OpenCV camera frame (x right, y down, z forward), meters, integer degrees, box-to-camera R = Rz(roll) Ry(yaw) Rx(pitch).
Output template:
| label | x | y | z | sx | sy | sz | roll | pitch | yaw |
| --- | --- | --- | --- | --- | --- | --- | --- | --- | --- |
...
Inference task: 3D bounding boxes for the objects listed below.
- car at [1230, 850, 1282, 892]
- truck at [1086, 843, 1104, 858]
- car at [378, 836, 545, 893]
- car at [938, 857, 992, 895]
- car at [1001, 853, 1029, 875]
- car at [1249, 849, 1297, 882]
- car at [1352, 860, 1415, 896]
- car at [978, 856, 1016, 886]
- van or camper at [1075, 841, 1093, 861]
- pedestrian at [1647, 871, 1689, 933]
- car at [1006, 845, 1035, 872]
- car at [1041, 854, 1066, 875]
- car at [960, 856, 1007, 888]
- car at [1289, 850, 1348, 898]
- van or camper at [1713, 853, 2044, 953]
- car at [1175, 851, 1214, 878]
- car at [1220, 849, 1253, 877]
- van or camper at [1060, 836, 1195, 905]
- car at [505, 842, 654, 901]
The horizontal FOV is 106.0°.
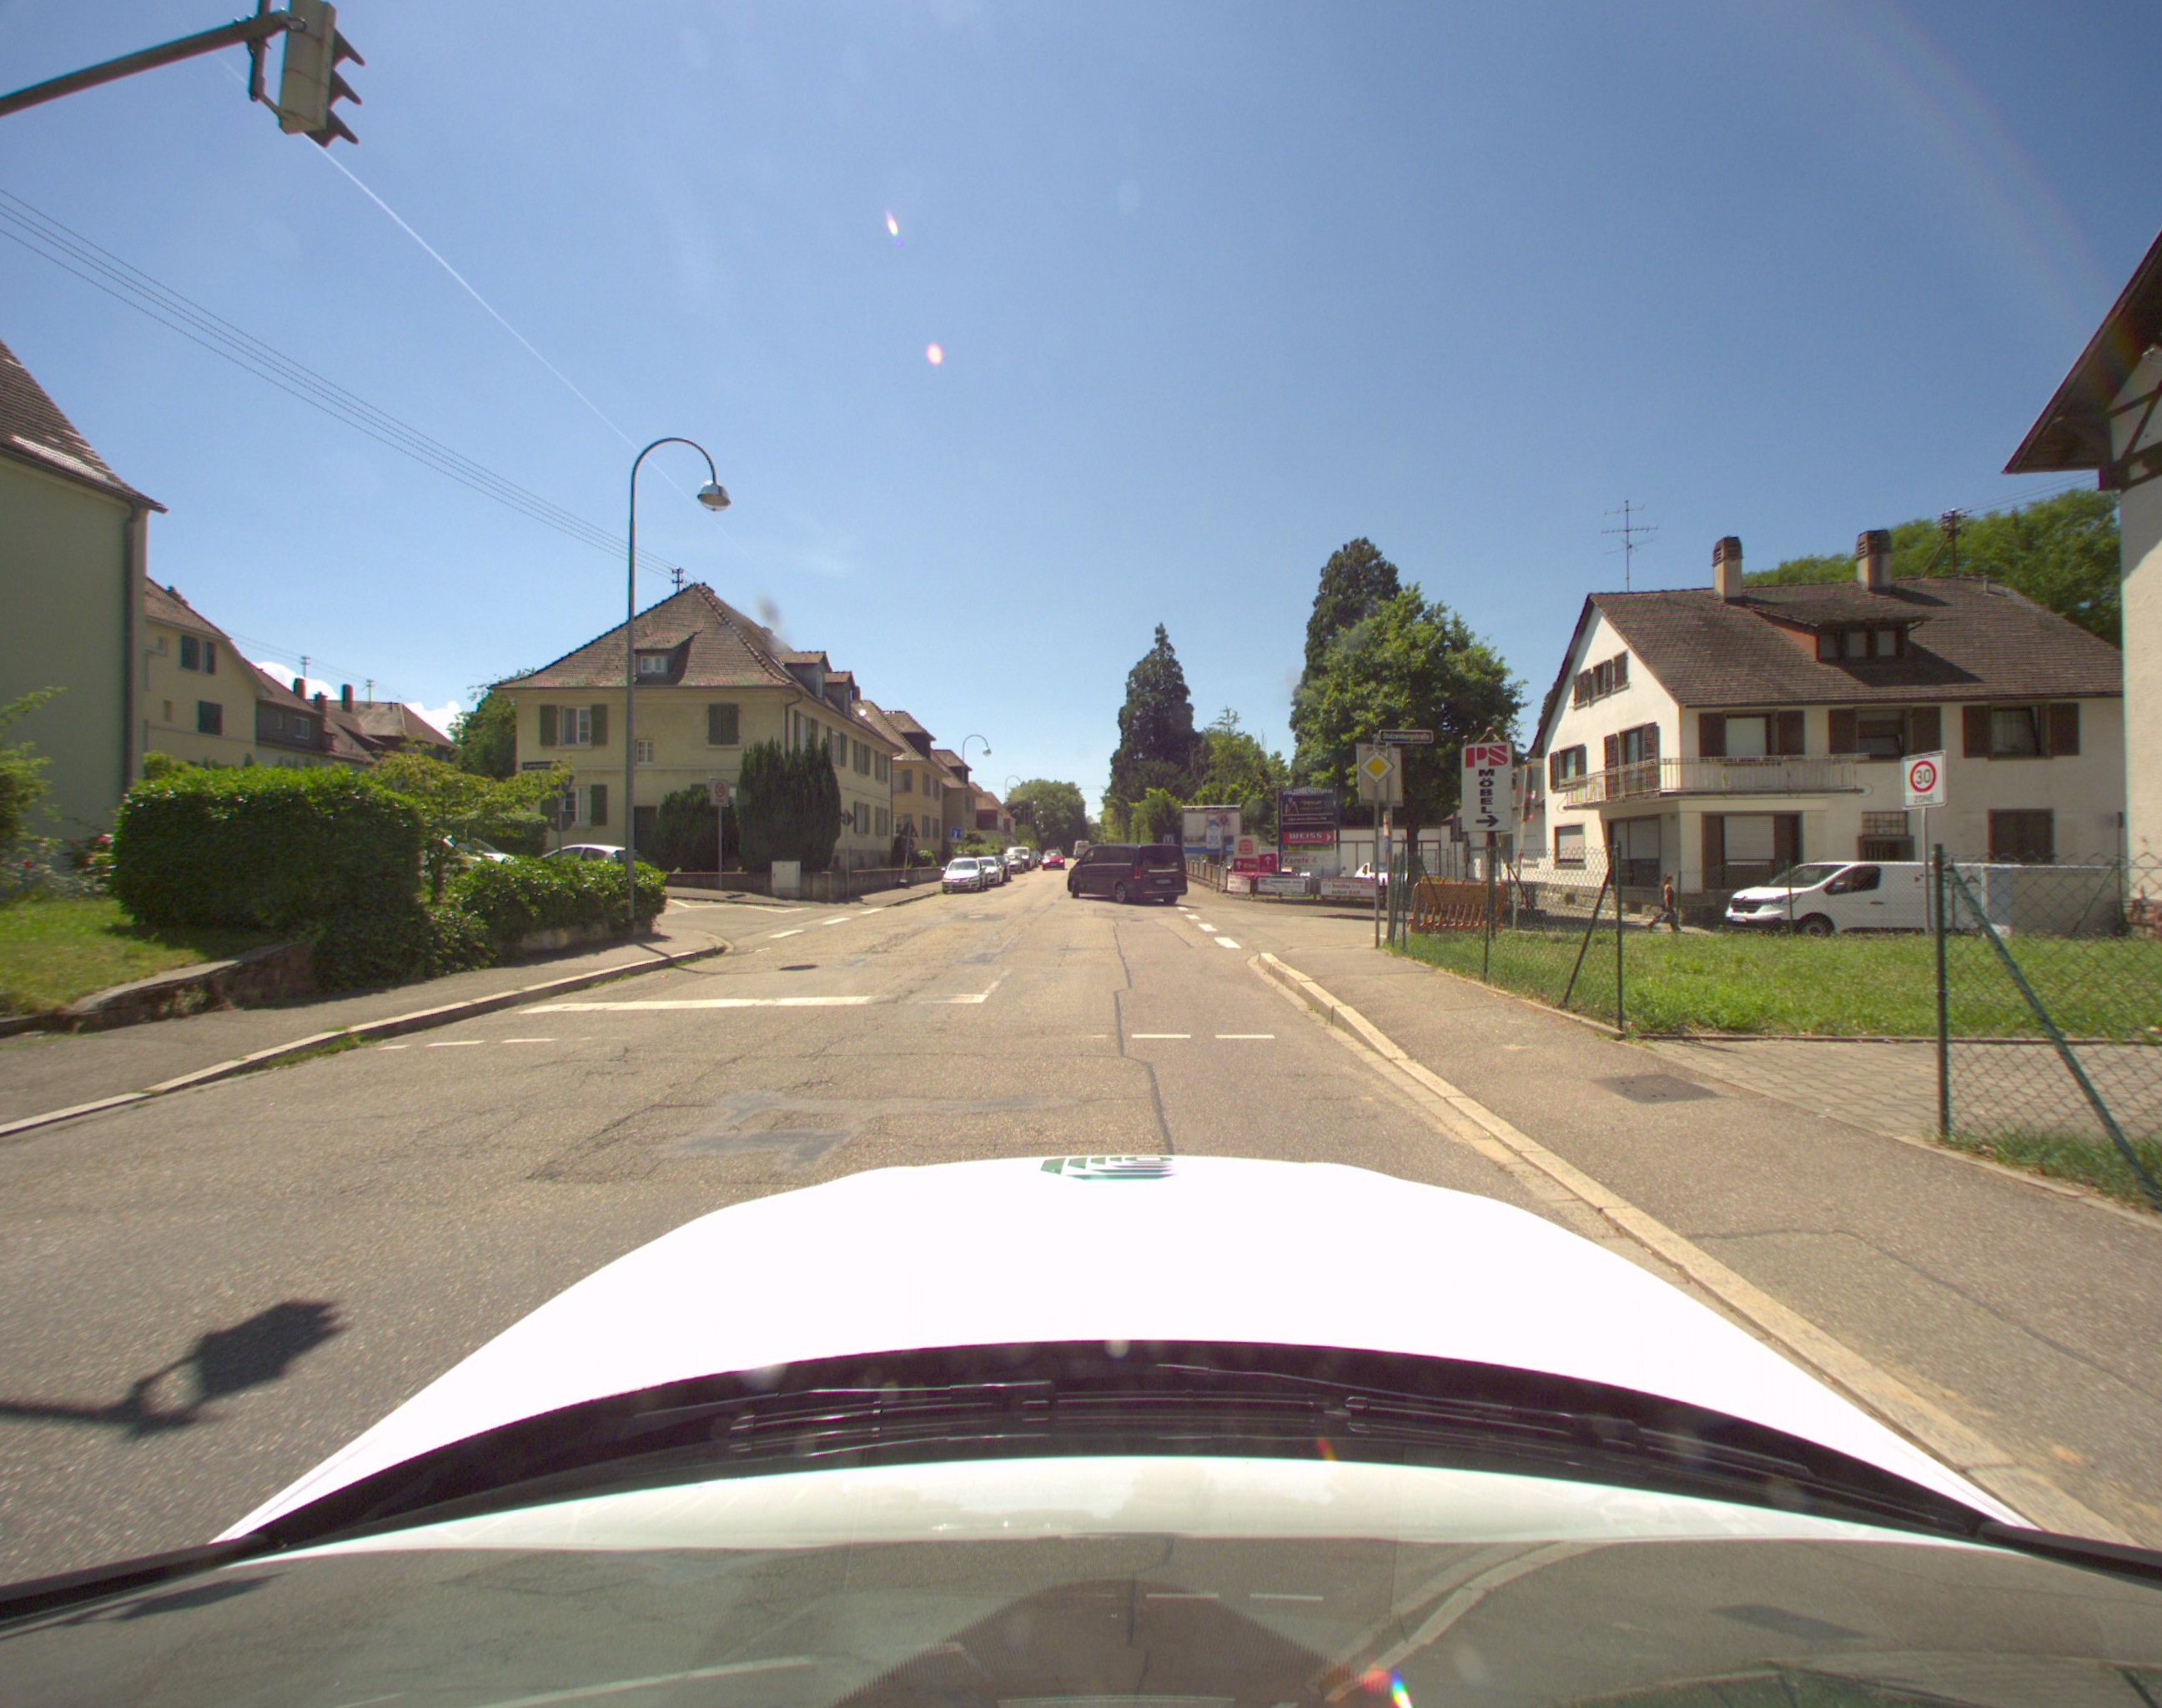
| label | x | y | z | sx | sy | sz | roll | pitch | yaw |
| --- | --- | --- | --- | --- | --- | --- | --- | --- | --- |
| car | 6.810 | 0.620 | 31.986 | 1.702 | 1.523 | 3.848 | -1 | 0 | 8 |
| truck | 2.140 | -0.580 | 128.433 | 2.351 | 2.258 | 6.083 | -1 | 0 | -4 |
| car | -17.999 | 0.302 | 23.754 | 3.562 | 1.457 | 1.752 | 3 | -1 | 7 |
| car | -4.925 | 0.913 | 35.087 | 1.754 | 1.447 | 3.922 | -2 | 0 | -1 |
| car | -4.748 | 0.705 | 58.858 | 1.681 | 1.525 | 4.061 | 0 | 0 | -1 |
| car | 11.253 | 0.642 | 47.958 | 1.769 | 1.800 | 4.164 | 3 | 0 | -1 |
| car | 11.453 | 0.867 | 31.018 | 1.701 | 1.270 | 3.395 | 0 | 0 | 11 |
| car | -4.603 | 0.897 | 45.219 | 1.711 | 1.485 | 4.074 | -2 | 0 | -2 |
| van or camper | 0.393 | -0.427 | 110.066 | 2.256 | 2.528 | 4.757 | -2 | 0 | -1 |
| pedestrian | 15.686 | 1.280 | 21.762 | 0.693 | 1.600 | 0.573 | -1 | 0 | 0 |
| car | -4.819 | 0.344 | 65.032 | 1.872 | 1.963 | 4.625 | -3 | 1 | 0 |
| car | -2.179 | 0.804 | 65.526 | 1.808 | 1.566 | 3.696 | -2 | 0 | 0 |
| car | -4.733 | 0.848 | 39.978 | 1.789 | 1.402 | 4.217 | -2 | 0 | -1 |
| car | 9.125 | 0.711 | 31.601 | 1.701 | 1.665 | 4.472 | 1 | 0 | 10 |
| van or camper | 18.168 | 1.082 | 18.836 | 5.313 | 1.979 | 2.005 | 2 | -2 | 9 |
| car | 6.713 | 0.607 | 48.363 | 1.627 | 1.459 | 3.554 | 3 | 0 | -2 |
| car | 9.247 | 0.527 | 48.666 | 1.623 | 1.543 | 3.399 | 3 | 0 | 7 |
| van or camper | 1.355 | 0.470 | 26.313 | 1.914 | 2.013 | 5.222 | 0 | 0 | -28 |
| car | -14.520 | 0.489 | 23.665 | 3.185 | 1.456 | 1.738 | 4 | -1 | 7 |
